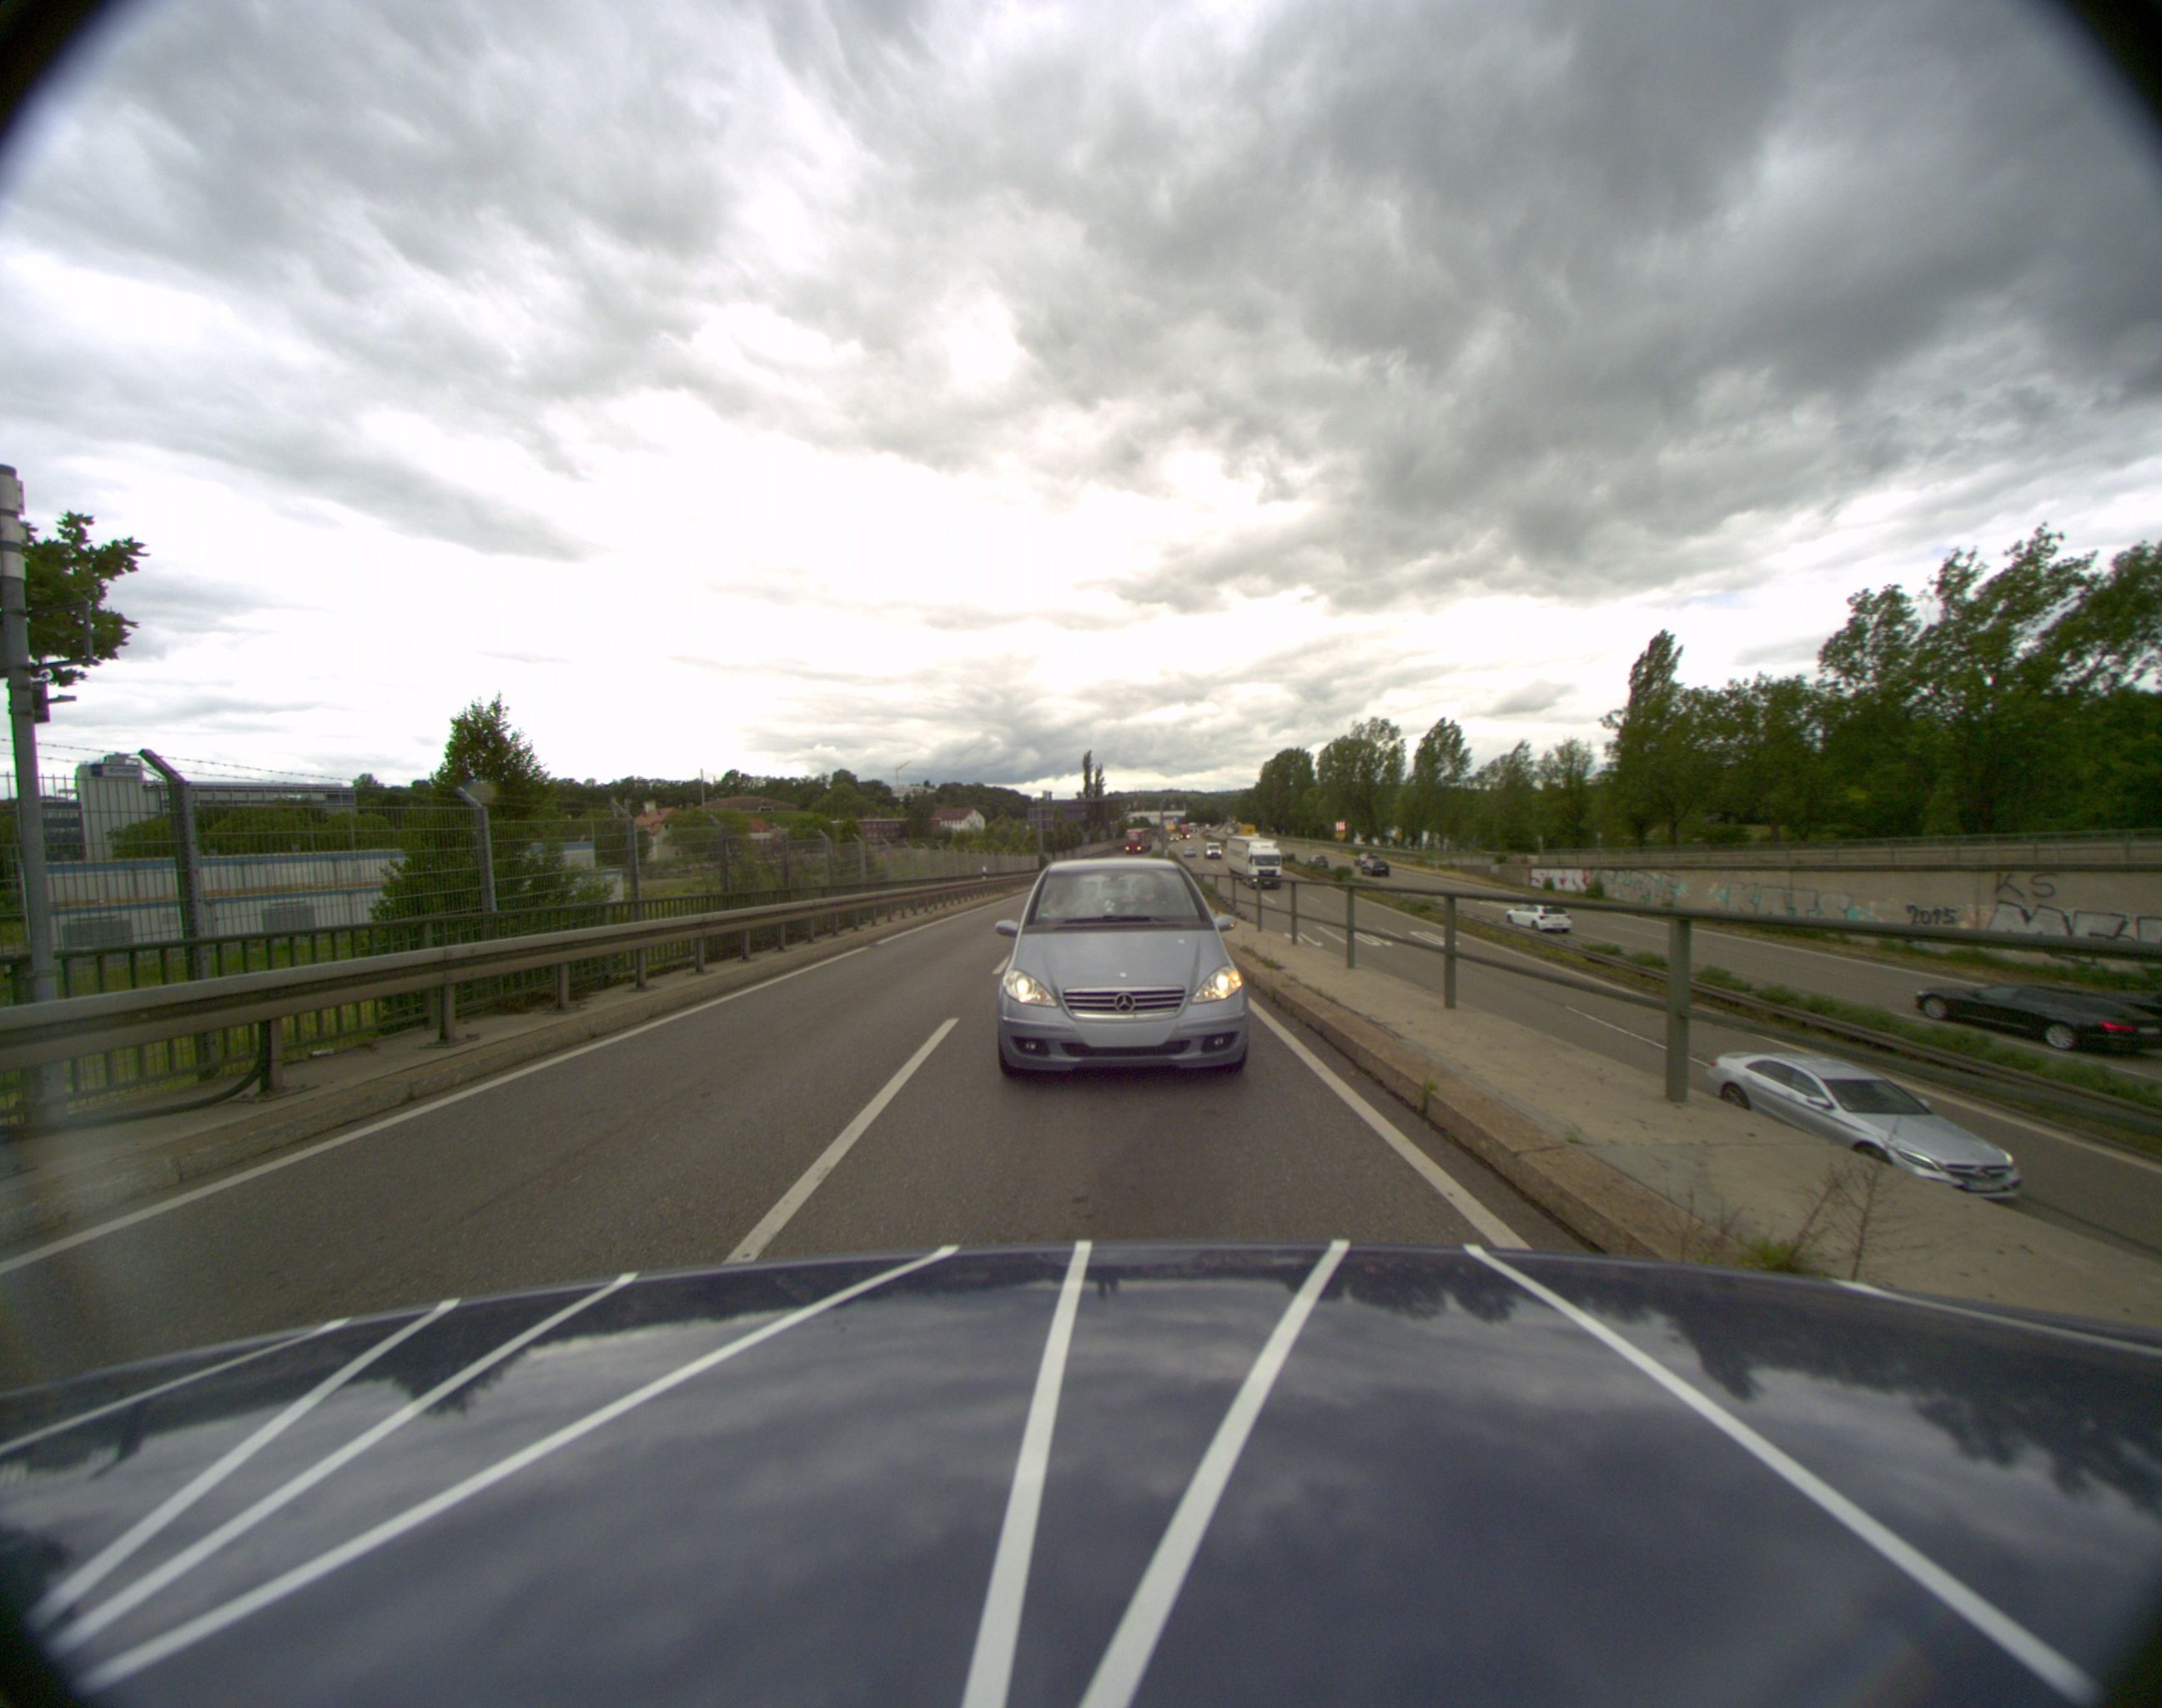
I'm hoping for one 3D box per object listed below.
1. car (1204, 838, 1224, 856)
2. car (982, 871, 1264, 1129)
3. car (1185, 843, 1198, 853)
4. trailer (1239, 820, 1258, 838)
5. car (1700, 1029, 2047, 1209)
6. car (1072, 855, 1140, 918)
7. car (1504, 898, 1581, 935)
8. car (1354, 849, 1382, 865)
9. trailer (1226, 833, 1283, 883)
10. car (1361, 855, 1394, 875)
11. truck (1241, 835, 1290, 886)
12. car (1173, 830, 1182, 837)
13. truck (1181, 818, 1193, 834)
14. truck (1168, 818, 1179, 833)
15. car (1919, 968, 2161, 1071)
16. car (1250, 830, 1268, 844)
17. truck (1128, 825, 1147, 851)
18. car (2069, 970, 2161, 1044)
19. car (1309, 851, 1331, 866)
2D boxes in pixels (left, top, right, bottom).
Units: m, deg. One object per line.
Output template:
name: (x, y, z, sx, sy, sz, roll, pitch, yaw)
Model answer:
car: (19.133, -1.077, 109.483, 2.104, 2.231, 6.498, 0, 3, 3)
car: (0.291, 0.958, 6.732, 1.743, 1.534, 3.993, -1, 0, 1)
car: (16.658, -0.867, 114.618, 1.512, 1.365, 3.536, 0, 3, 3)
trailer: (44.406, -6.693, 201.532, 3.247, 4.239, 13.678, 0, 3, 5)
car: (14.221, 4.681, 14.141, 1.854, 1.562, 4.436, -1, 4, 2)
car: (0.721, 0.937, 23.175, 1.830, 1.701, 4.001, -2, -1, 1)
car: (24.717, 3.306, 40.870, 1.778, 1.485, 3.896, 1, 3, 2)
car: (33.756, 0.288, 89.416, 1.864, 1.643, 4.632, 0, 3, 4)
trailer: (16.419, 0.158, 73.132, 3.010, 4.087, 13.984, 0, 3, 3)
car: (29.716, 1.055, 76.255, 1.886, 1.709, 4.181, 0, 3, 3)
truck: (16.059, 0.498, 66.530, 3.010, 4.087, 5.872, 0, 3, 3)
car: (23.748, -5.122, 187.426, 1.810, 1.658, 3.999, -1, 3, 4)
truck: (31.194, -8.352, 224.715, 2.754, 4.712, 9.916, 1, 3, 4)
truck: (25.833, -8.005, 212.191, 2.415, 4.100, 8.169, 0, 3, 4)
car: (26.387, 4.364, 20.695, 1.998, 1.617, 4.577, 0, 3, 1)
car: (35.755, -3.484, 152.684, 2.172, 2.580, 6.099, -1, 3, 1)
truck: (9.558, -2.799, 128.586, 3.101, 3.990, 8.487, -1, 4, 5)
car: (30.069, 4.325, 20.043, 1.998, 1.617, 4.577, 0, 3, 1)
car: (27.614, 0.524, 87.921, 1.718, 1.446, 3.650, -1, 3, 5)
